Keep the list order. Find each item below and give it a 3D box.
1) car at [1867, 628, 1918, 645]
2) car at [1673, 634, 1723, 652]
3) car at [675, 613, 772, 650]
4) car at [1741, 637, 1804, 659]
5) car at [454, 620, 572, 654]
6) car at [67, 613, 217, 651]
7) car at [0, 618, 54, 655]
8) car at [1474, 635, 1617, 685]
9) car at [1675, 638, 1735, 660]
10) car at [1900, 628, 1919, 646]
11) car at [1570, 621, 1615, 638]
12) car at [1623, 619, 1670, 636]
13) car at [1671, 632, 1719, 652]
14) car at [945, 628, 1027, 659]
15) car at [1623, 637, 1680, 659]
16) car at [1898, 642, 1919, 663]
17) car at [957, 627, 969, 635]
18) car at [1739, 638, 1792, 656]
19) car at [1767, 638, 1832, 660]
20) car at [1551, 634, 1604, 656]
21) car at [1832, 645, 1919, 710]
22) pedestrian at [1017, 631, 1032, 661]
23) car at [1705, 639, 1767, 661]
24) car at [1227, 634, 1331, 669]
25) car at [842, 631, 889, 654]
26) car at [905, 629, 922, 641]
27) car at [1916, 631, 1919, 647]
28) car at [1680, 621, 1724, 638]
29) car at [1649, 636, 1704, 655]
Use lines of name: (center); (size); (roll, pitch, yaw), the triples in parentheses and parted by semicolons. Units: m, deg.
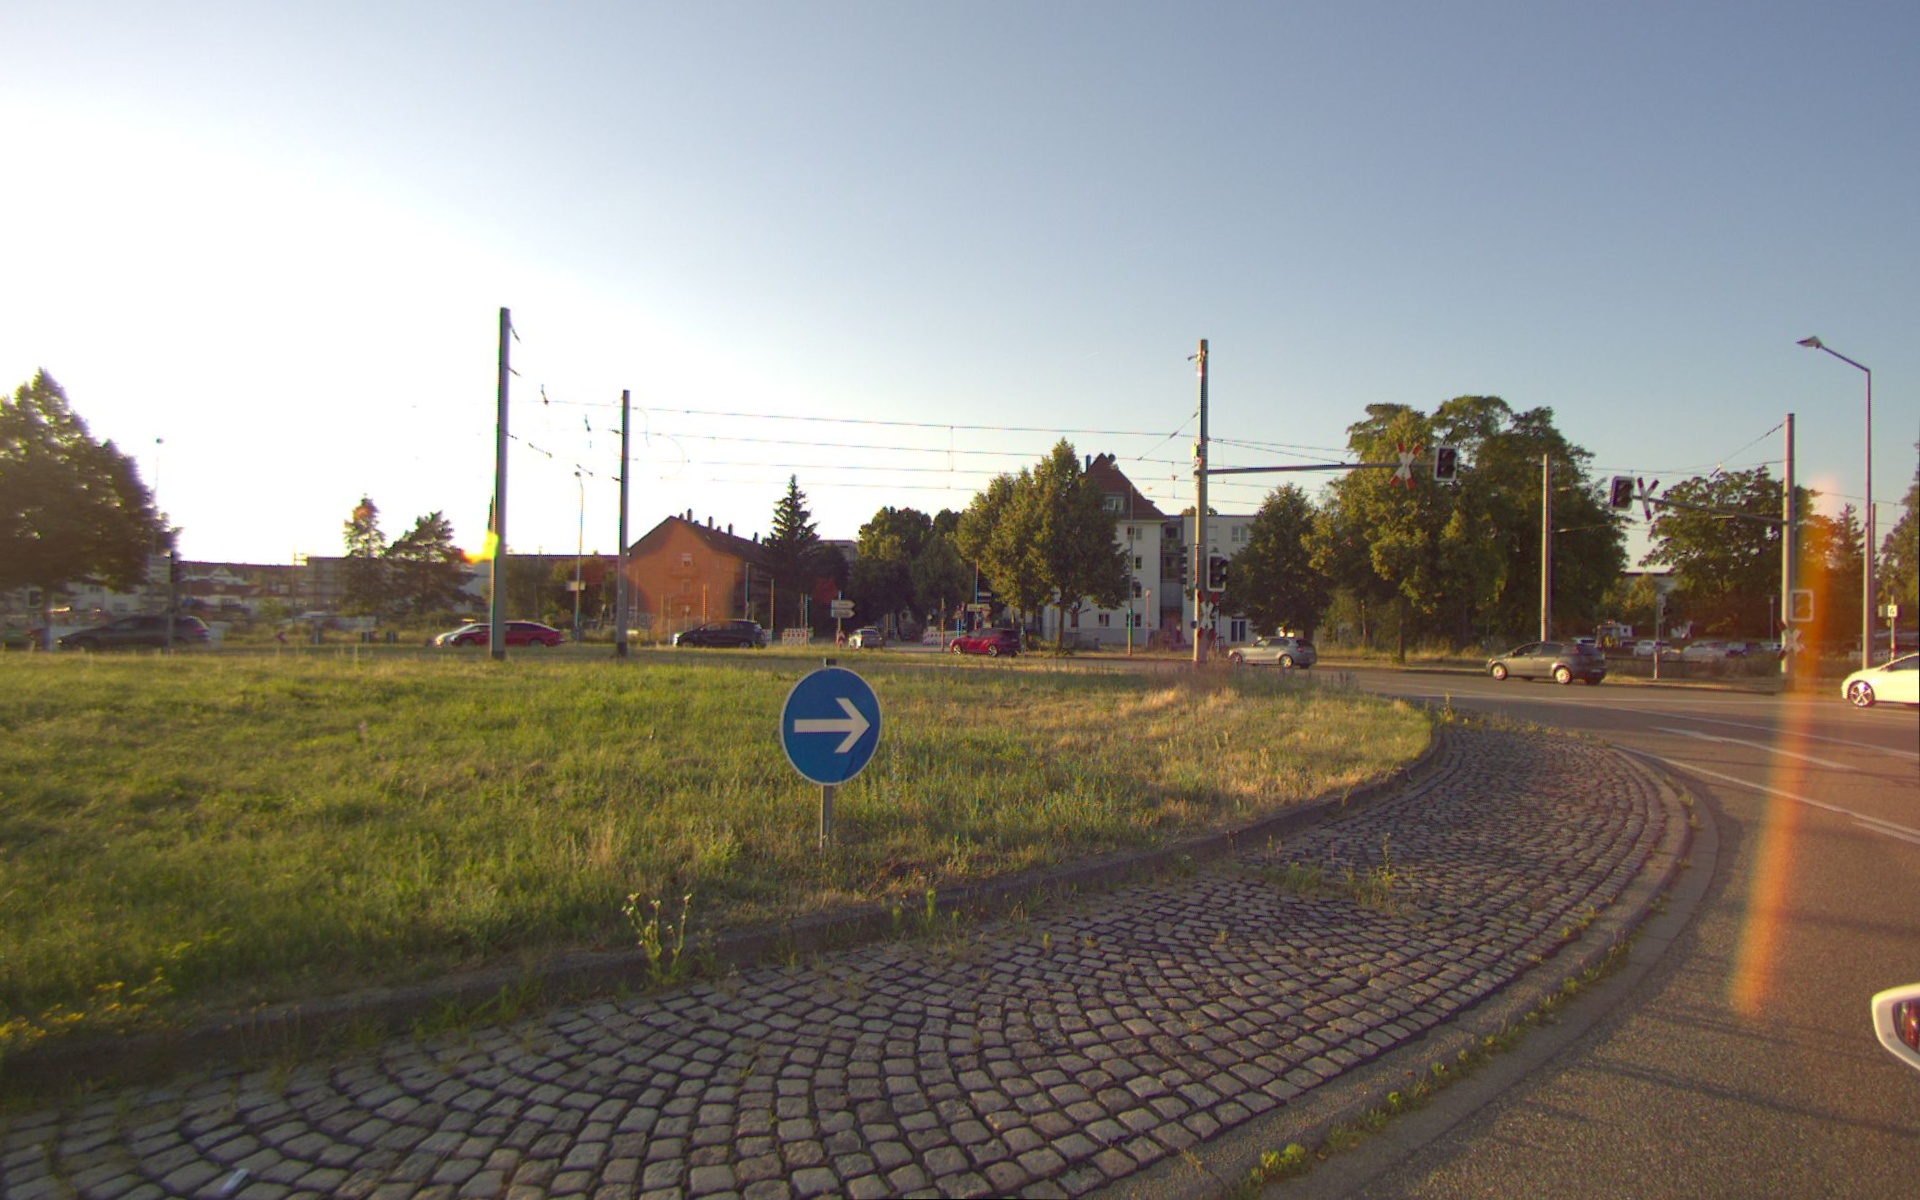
car: (108.443, 4.259, 116.822); (3.919, 1.840, 2.001); (1, -1, 6)
car: (73.493, 4.288, 100.121); (3.934, 1.684, 1.994); (0, -1, 35)
car: (-10.736, 1.427, 45.840); (3.920, 1.605, 1.896); (1, -1, 2)
car: (64.249, 3.797, 79.522); (1.960, 1.625, 4.002); (1, -1, 3)
car: (-19.723, 1.632, 44.481); (4.418, 1.410, 1.892); (1, -1, -12)
car: (-31.362, 1.217, 38.697); (4.344, 1.394, 1.979); (2, -1, -37)
car: (-43.403, 1.582, 44.552); (4.400, 1.600, 1.999); (1, -1, -5)
car: (20.828, 2.104, 35.915); (1.840, 1.473, 4.142); (3, -1, -21)
car: (59.755, 3.929, 80.651); (1.960, 1.625, 4.002); (1, -1, 3)
car: (107.840, 4.155, 111.973); (3.919, 2.040, 2.001); (1, -1, 11)
car: (80.040, 3.773, 127.139); (4.507, 2.040, 2.000); (1, -1, 1)
car: (86.714, 3.507, 126.922); (4.505, 2.040, 2.001); (1, -1, 5)
car: (76.401, 4.345, 104.467); (3.934, 2.040, 1.994); (0, -1, 35)
car: (1.468, 2.430, 56.842); (4.349, 1.594, 1.991); (0, -1, 40)
car: (54.993, 3.778, 79.973); (1.960, 1.625, 4.002); (1, -1, 3)
car: (76.584, 4.176, 79.004); (1.960, 1.625, 4.002); (1, -1, 3)
car: (0.635, 6.292, 204.761); (1.960, 1.618, 4.002); (1, -1, 5)
car: (77.663, 4.519, 96.939); (3.939, 1.684, 1.894); (0, -1, 39)
car: (66.604, 3.871, 79.749); (1.960, 1.625, 4.002); (1, -1, 3)
car: (49.655, 3.618, 80.892); (1.960, 1.625, 4.002); (1, -1, 3)
car: (23.684, 1.892, 24.176); (1.832, 1.473, 3.970); (1, -1, -4)
pedestrian: (4.187, 2.987, 65.136); (0.614, 1.918, 0.663); (2, 0, -35)
car: (61.872, 3.992, 80.163); (1.960, 1.625, 4.002); (1, -1, 3)
car: (14.417, 2.301, 45.546); (1.854, 1.408, 4.111); (2, -1, -42)
car: (-6.719, 2.971, 71.231); (1.861, 1.483, 4.641); (1, -1, -25)
car: (-5.231, 3.938, 113.249); (1.661, 1.372, 4.001); (1, -1, 1)
car: (105.954, 4.235, 108.105); (1.971, 1.728, 3.979); (1, -1, -22)
car: (93.432, 3.715, 126.497); (4.033, 2.040, 2.001); (1, -1, 5)
car: (69.530, 4.425, 97.497); (3.919, 1.684, 1.904); (1, -1, 6)
